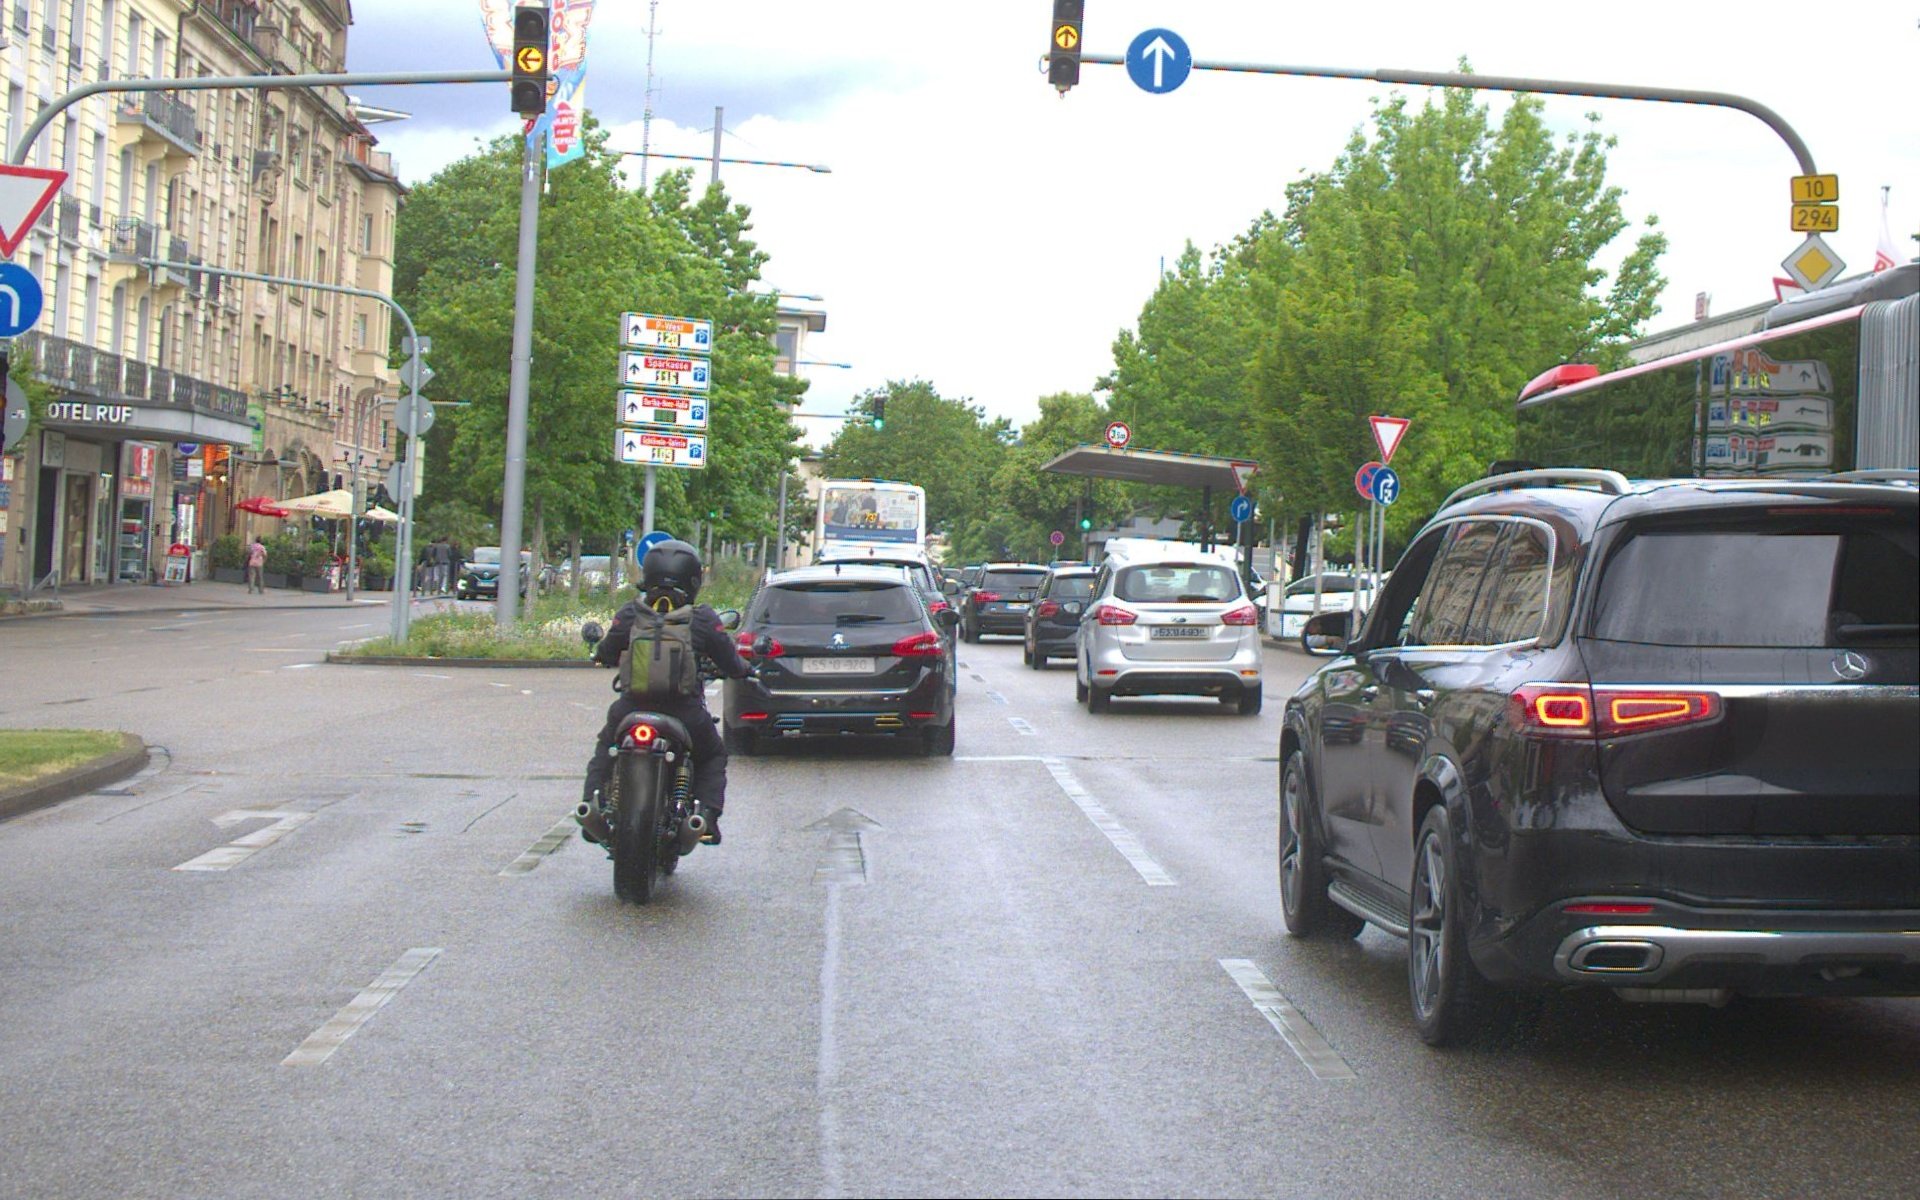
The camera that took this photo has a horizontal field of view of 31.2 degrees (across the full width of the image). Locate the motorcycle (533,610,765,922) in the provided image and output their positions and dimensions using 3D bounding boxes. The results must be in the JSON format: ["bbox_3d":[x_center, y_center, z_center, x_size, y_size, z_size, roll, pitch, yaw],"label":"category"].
[{"bbox_3d":[-1.343,0.691,15.176,0.793,1.258,1.855,0,1,2],"label":"motorcycle"}]

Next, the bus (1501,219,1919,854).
[{"bbox_3d":[5.945,-0.346,22.237,3.291,3.278,8.850,1,1,-1],"label":"bus"}]

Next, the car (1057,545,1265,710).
[{"bbox_3d":[1.963,0.237,34.532,1.741,1.562,3.871,0,1,-2],"label":"car"}]

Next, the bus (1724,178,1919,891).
[{"bbox_3d":[6.081,-0.260,13.988,3.286,3.280,10.878,1,1,-1],"label":"bus"}]

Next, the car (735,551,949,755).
[{"bbox_3d":[-0.902,0.365,27.288,1.575,1.499,3.871,0,1,-1],"label":"car"}]

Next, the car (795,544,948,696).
[{"bbox_3d":[-0.971,0.178,37.420,1.575,1.562,3.871,0,1,-2],"label":"car"}]

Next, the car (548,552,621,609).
[{"bbox_3d":[-10.603,-0.564,97.343,1.780,1.562,3.430,0,1,-2],"label":"car"}]

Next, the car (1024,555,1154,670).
[{"bbox_3d":[1.789,0.145,48.590,1.575,1.562,3.871,0,1,-2],"label":"car"}]

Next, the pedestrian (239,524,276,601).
[{"bbox_3d":[-18.681,-1.001,91.453,0.724,2.007,0.826,1,0,-28],"label":"pedestrian"}]

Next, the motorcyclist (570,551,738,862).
[{"bbox_3d":[-1.354,0.462,15.318,0.641,1.343,0.689,1,0,2],"label":"motorcyclist"}]

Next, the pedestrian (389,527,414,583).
[{"bbox_3d":[-18.098,-1.458,111.387,0.561,1.772,0.498,1,0,34],"label":"pedestrian"}]

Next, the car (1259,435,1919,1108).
[{"bbox_3d":[2.304,0.442,12.009,1.957,1.869,4.874,0,1,-2],"label":"car"}]

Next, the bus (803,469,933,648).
[{"bbox_3d":[-2.298,-0.959,83.931,2.837,3.974,11.864,2,0,-2],"label":"bus"}]

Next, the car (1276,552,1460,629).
[{"bbox_3d":[8.573,-0.218,72.463,1.576,1.562,3.794,-1,1,-40],"label":"car"}]

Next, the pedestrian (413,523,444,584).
[{"bbox_3d":[-17.172,-1.507,111.045,0.724,1.959,0.826,1,0,-28],"label":"pedestrian"}]

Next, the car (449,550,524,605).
[{"bbox_3d":[-13.620,-0.664,99.003,1.780,1.562,3.430,0,1,-2],"label":"car"}]

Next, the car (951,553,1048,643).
[{"bbox_3d":[0.686,-0.060,61.680,1.575,1.562,3.796,0,1,-2],"label":"car"}]
